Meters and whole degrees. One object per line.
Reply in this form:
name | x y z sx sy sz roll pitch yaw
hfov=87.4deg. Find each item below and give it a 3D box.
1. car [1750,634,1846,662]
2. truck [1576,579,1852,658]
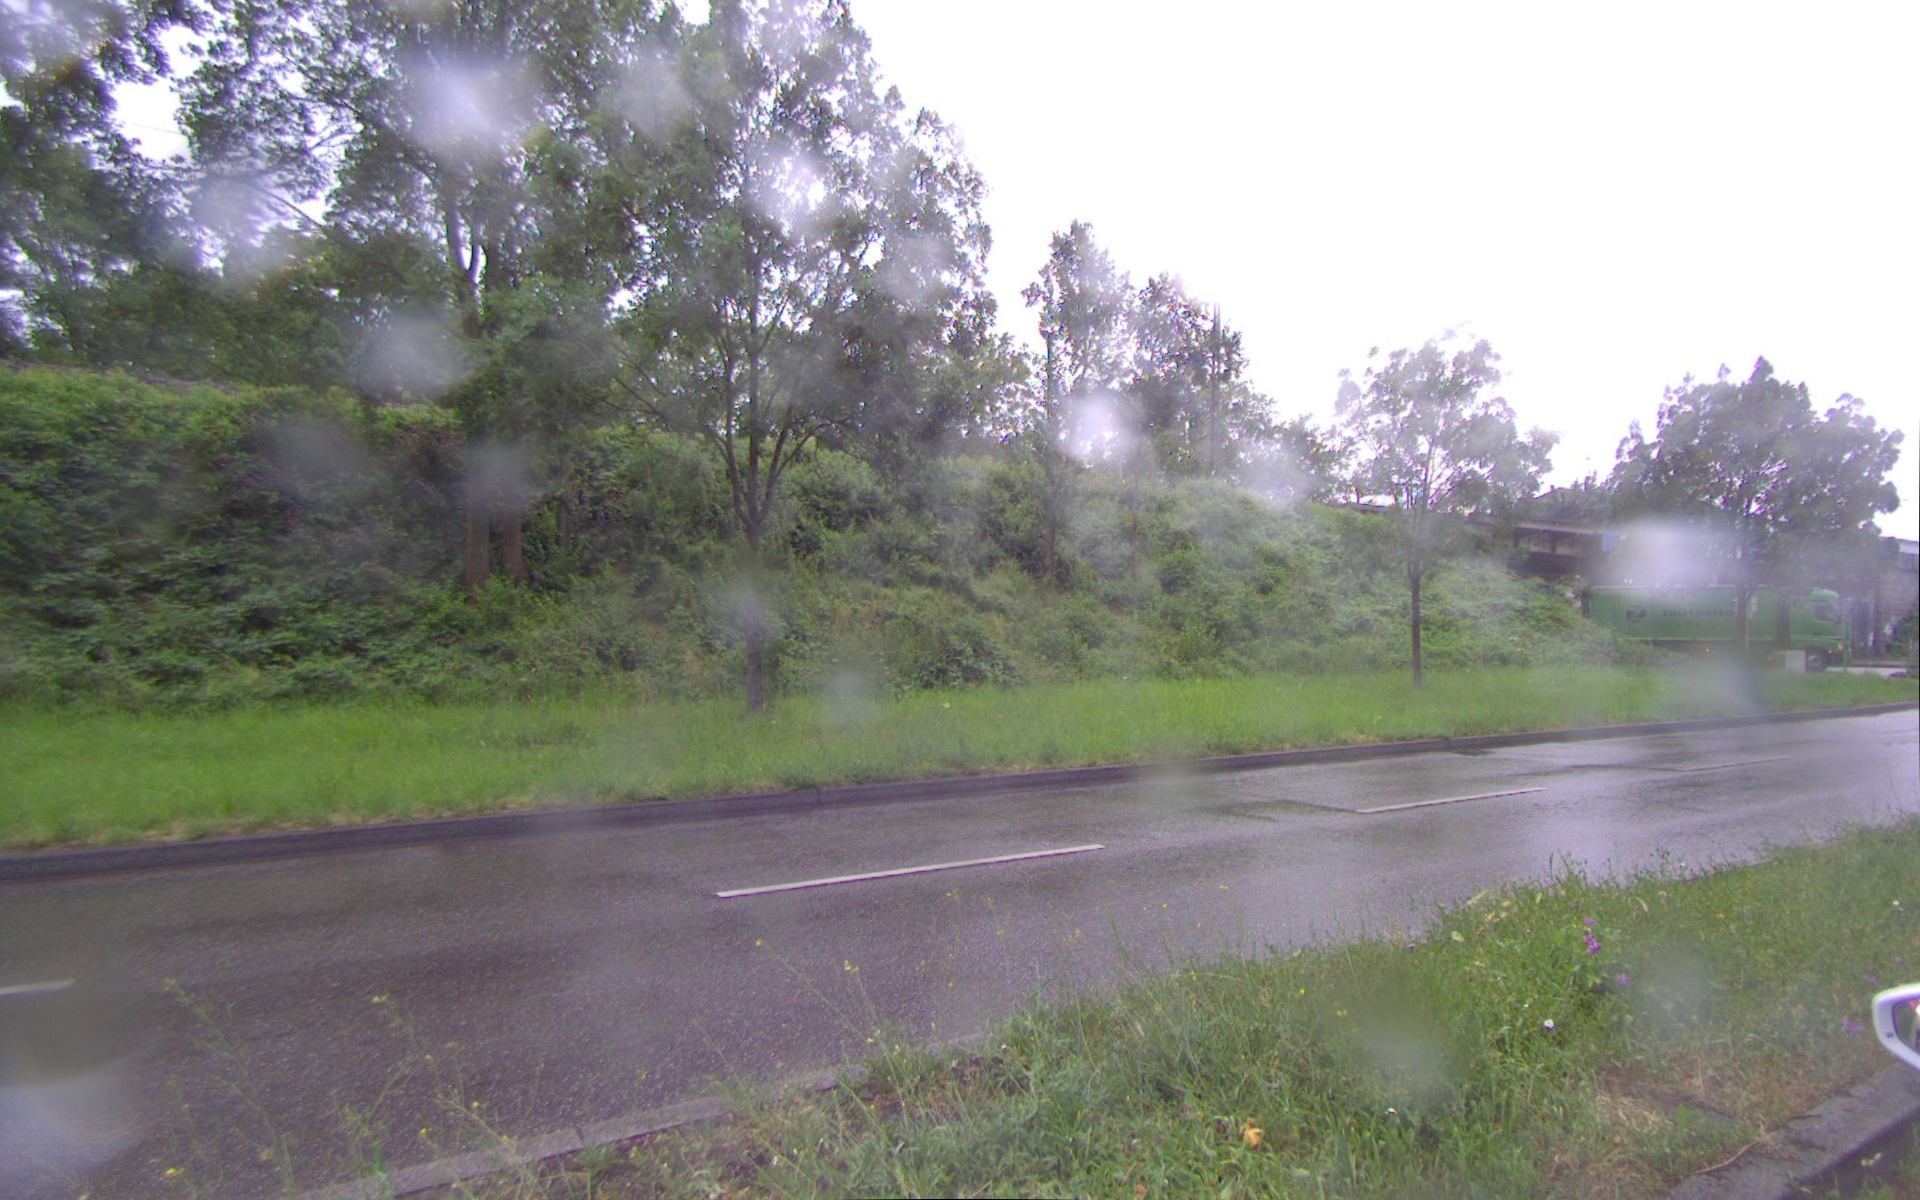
car | 51.590 2.915 61.960 4.169 1.617 1.998 0 -2 26
truck | 34.343 0.795 46.340 9.872 3.416 2.346 0 -1 25
